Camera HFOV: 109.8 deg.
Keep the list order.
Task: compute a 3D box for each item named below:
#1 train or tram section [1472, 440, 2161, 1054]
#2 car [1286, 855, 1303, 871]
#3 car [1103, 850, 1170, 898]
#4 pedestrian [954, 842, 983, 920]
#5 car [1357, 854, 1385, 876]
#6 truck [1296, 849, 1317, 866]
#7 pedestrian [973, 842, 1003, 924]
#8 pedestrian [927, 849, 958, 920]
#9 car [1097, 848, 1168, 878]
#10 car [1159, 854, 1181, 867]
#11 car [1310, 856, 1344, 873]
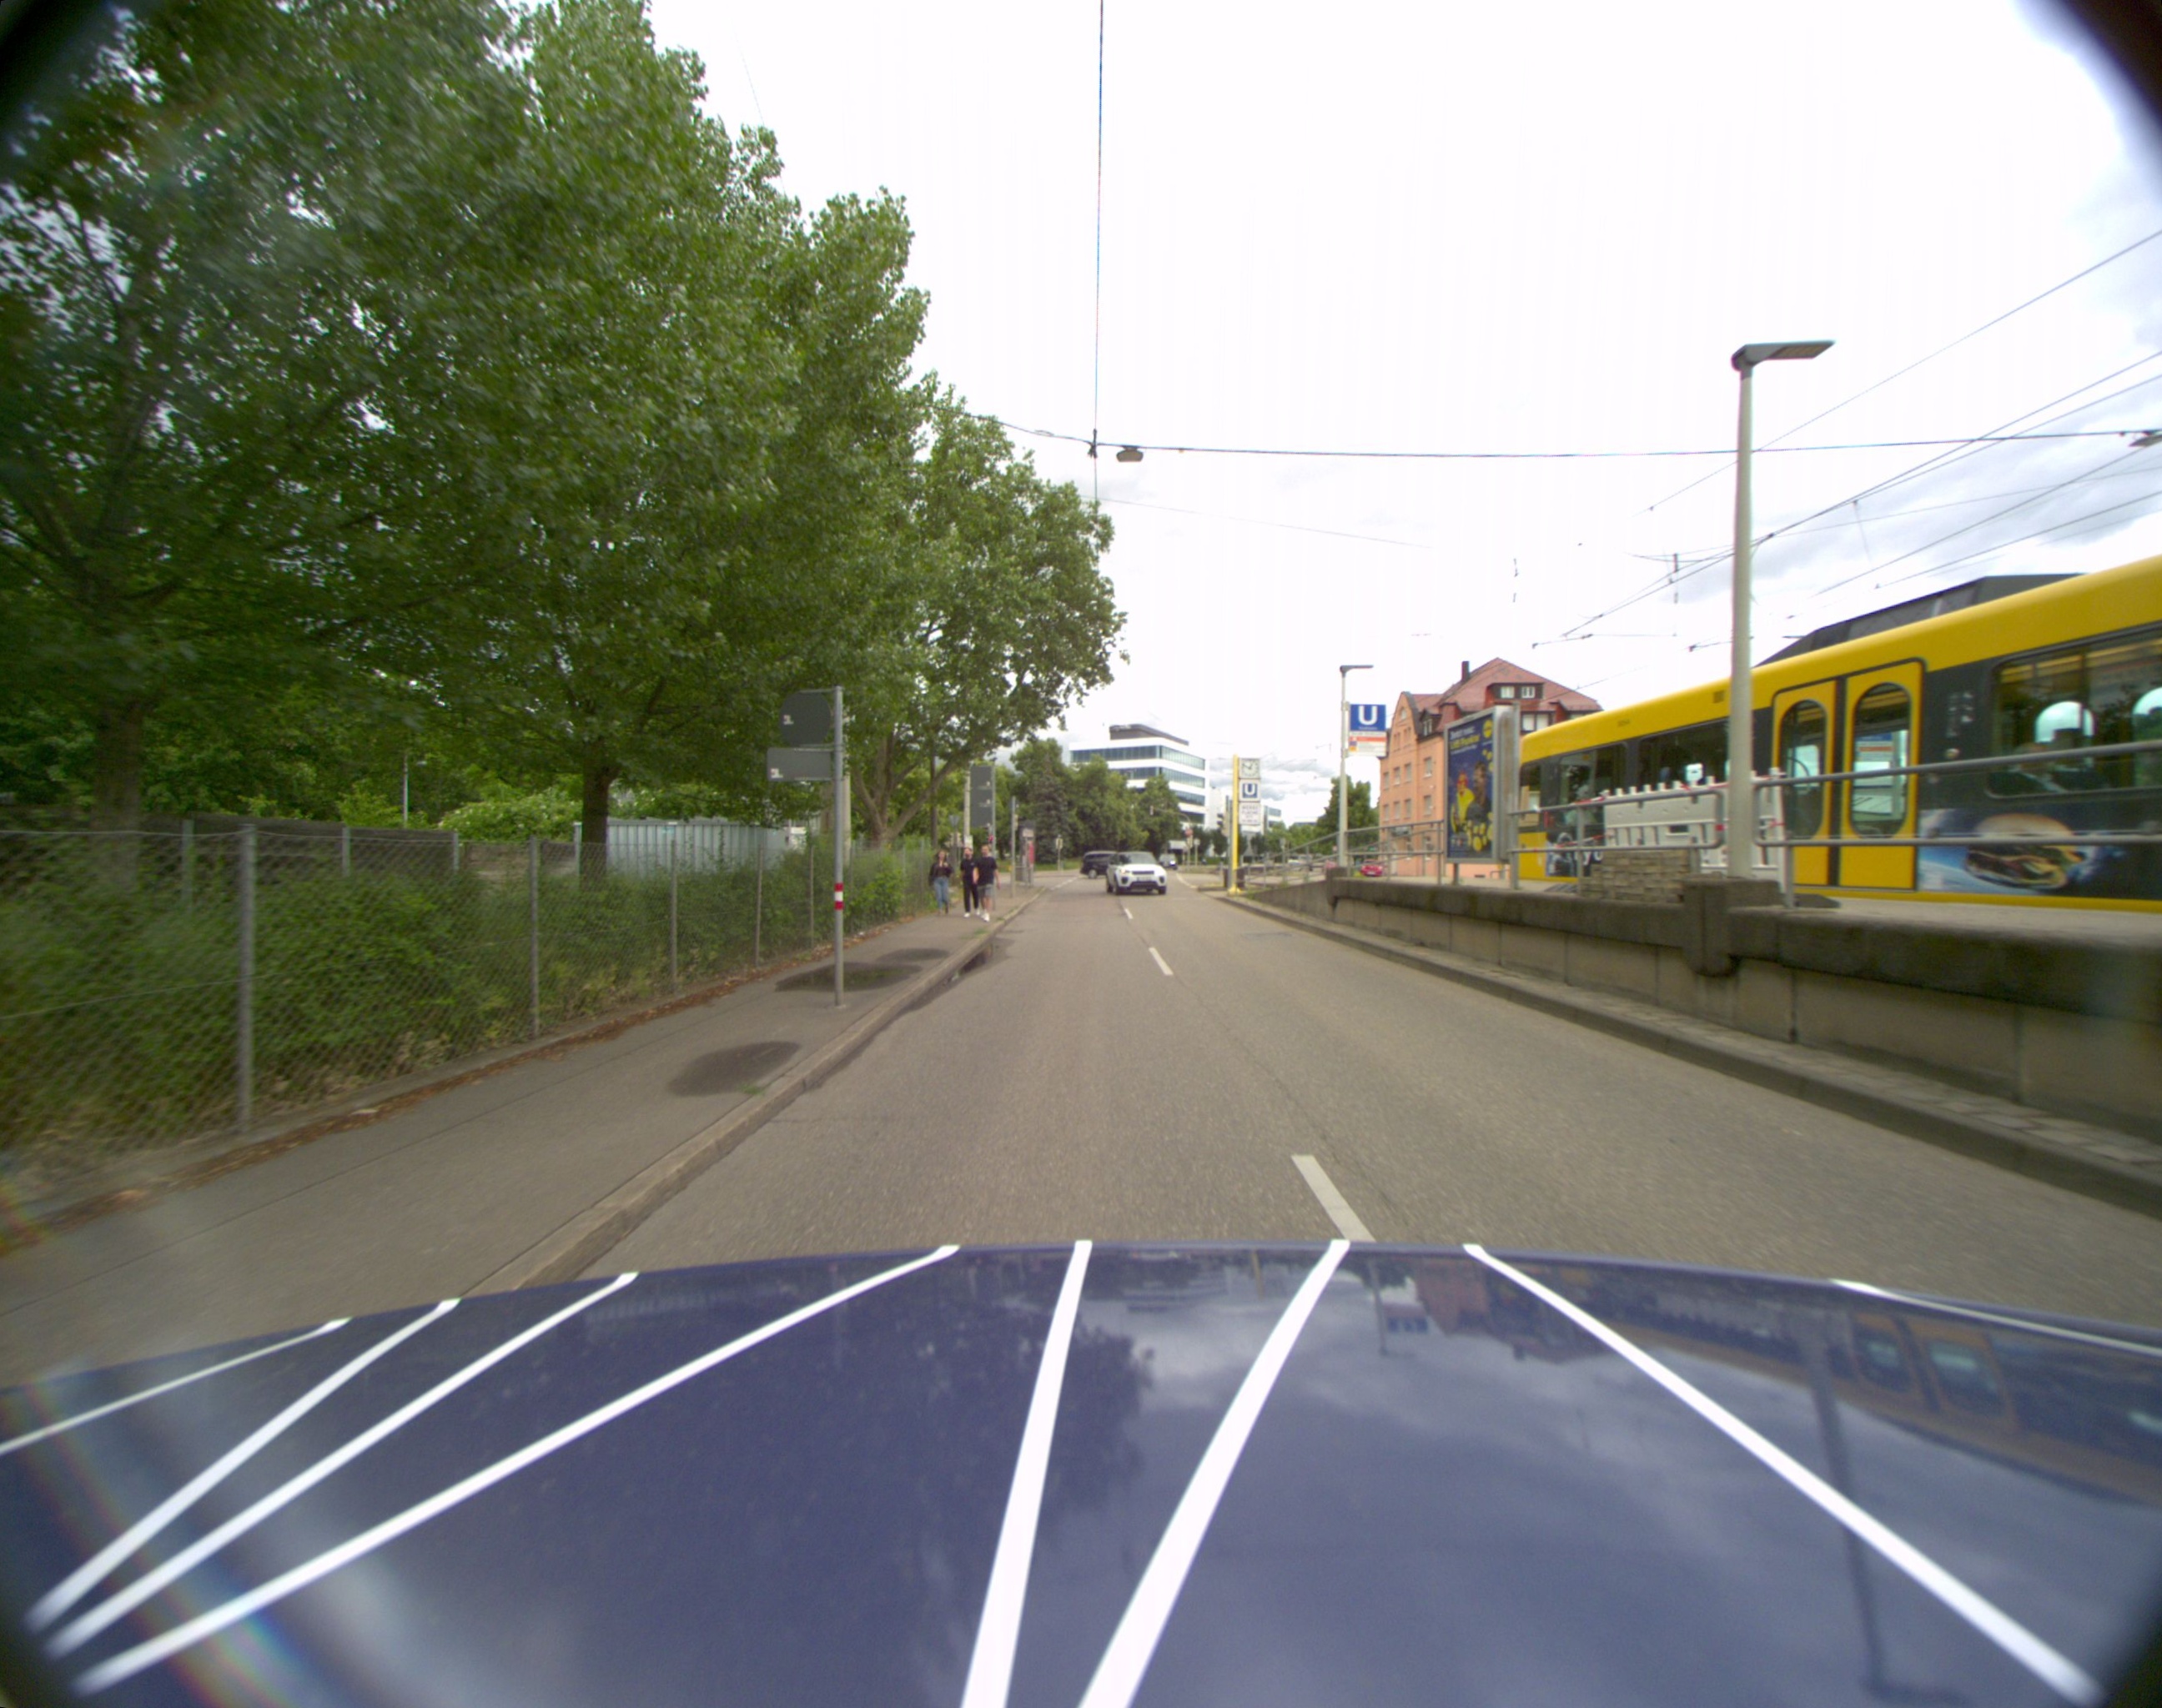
[{"bbox_3d":[8.320,-0.639,7.581,2.747,3.942,11.913,0,-1,0],"label":"train or tram section"},{"bbox_3d":[27.703,1.212,98.645,1.596,1.409,3.381,-7,-9,9],"label":"car"},{"bbox_3d":[2.053,0.689,29.320,1.917,1.561,4.110,-2,2,-5],"label":"car"},{"bbox_3d":[-2.732,0.650,18.502,0.604,1.857,0.671,0,1,1],"label":"pedestrian"},{"bbox_3d":[22.004,0.780,57.583,1.764,1.521,3.746,1,1,23],"label":"car"},{"bbox_3d":[32.555,0.533,109.544,2.315,2.407,5.664,2,0,23],"label":"truck"},{"bbox_3d":[-2.155,0.655,17.663,0.604,1.857,0.671,0,4,1],"label":"pedestrian"},{"bbox_3d":[-3.374,0.733,18.565,0.604,1.681,0.671,0,4,1],"label":"pedestrian"},{"bbox_3d":[3.257,0.584,47.599,4.222,1.761,1.835,-1,-2,12],"label":"car"},{"bbox_3d":[9.017,0.653,76.624,1.625,1.324,3.178,0,0,18],"label":"car"},{"bbox_3d":[26.038,1.051,80.387,1.703,1.517,3.994,-2,3,-11],"label":"car"}]
